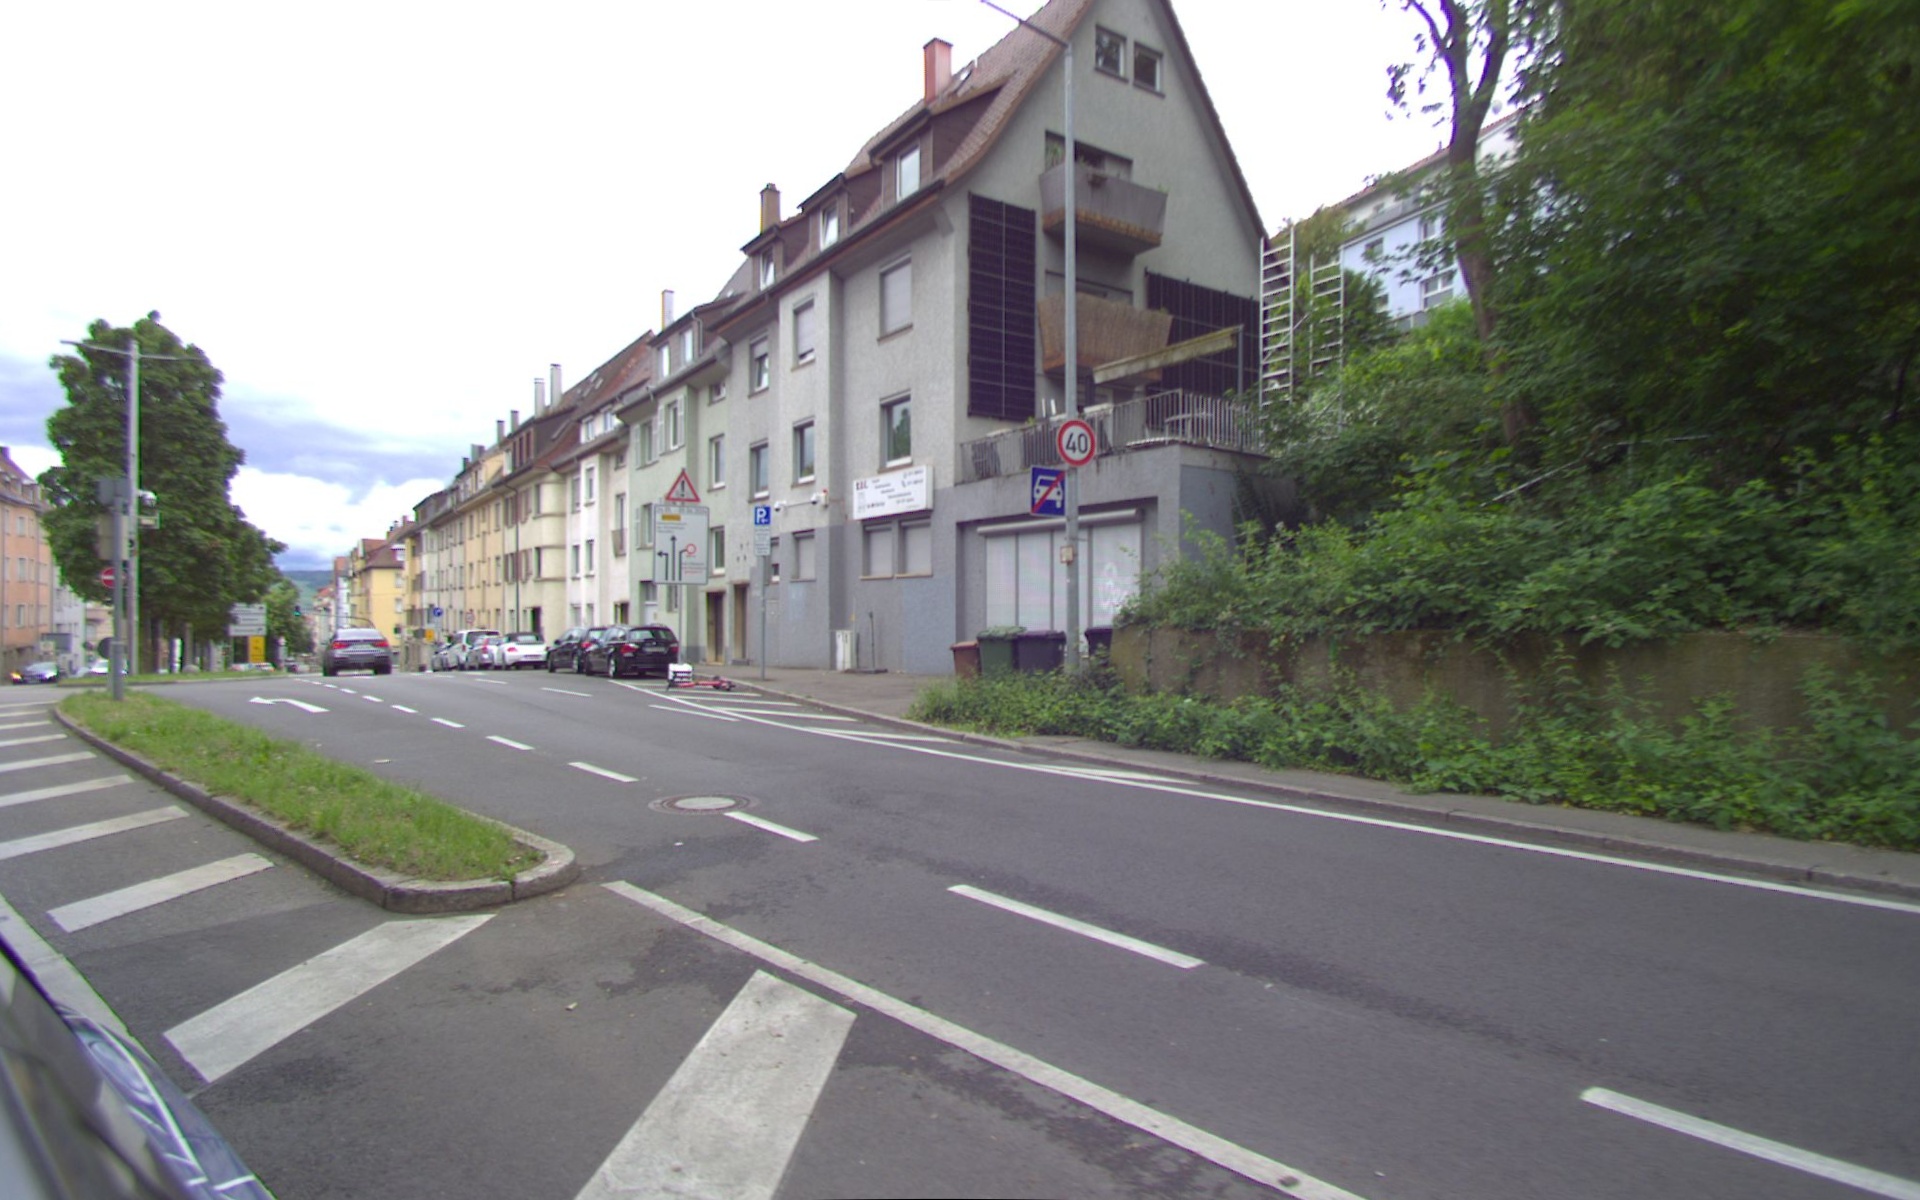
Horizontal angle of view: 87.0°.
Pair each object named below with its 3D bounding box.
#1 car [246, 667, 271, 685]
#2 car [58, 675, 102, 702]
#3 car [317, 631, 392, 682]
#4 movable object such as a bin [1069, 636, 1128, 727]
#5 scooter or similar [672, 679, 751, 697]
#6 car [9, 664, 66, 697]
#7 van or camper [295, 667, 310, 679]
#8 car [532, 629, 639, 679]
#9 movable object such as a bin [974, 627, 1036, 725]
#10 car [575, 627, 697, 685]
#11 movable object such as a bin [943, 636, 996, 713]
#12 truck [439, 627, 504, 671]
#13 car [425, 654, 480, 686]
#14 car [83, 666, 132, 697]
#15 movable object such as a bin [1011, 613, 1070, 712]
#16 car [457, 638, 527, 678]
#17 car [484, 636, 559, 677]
[{"bbox_3d":[-60.777,6.601,87.716,1.722,1.478,4.596,0,-4,-35],"label":"car"},{"bbox_3d":[-55.818,5.594,64.260,1.756,1.605,3.541,3,-4,-36],"label":"car"},{"bbox_3d":[-22.164,1.991,36.959,1.845,1.711,4.947,1,-2,-37],"label":"car"},{"bbox_3d":[1.673,0.972,12.199,0.430,1.032,0.550,-3,1,40],"label":"movable object such as a bin"},{"bbox_3d":[-4.990,1.767,20.349,1.098,0.290,1.112,-2,-3,40],"label":"scooter or similar"},{"bbox_3d":[-47.747,4.146,52.456,1.756,1.605,3.541,3,-4,-36],"label":"car"},{"bbox_3d":[-105.271,11.668,162.067,1.882,1.775,4.666,-1,-4,-34],"label":"van or camper"},{"bbox_3d":[-11.828,1.670,31.805,1.968,1.434,4.220,1,-3,-38],"label":"car"},{"bbox_3d":[0.583,0.974,13.100,0.492,1.194,0.598,-3,1,40],"label":"movable object such as a bin"},{"bbox_3d":[-8.897,1.513,27.544,1.967,1.411,4.529,0,-3,-34],"label":"car"},{"bbox_3d":[0.135,0.991,13.630,0.444,0.974,0.510,-3,1,40],"label":"movable object such as a bin"},{"bbox_3d":[-23.429,2.398,48.450,1.967,1.935,5.360,0,-4,-35],"label":"truck"},{"bbox_3d":[-26.771,3.713,53.294,1.967,1.564,4.168,0,-4,-35],"label":"car"},{"bbox_3d":[-46.827,4.445,55.649,1.756,1.605,3.541,3,-4,-36],"label":"car"},{"bbox_3d":[1.021,0.780,12.836,0.430,1.194,0.575,-3,1,40],"label":"movable object such as a bin"},{"bbox_3d":[-20.238,2.527,43.682,1.967,1.564,4.392,0,-4,-35],"label":"car"},{"bbox_3d":[-17.238,2.223,39.717,1.967,1.486,4.168,0,-4,-34],"label":"car"}]
